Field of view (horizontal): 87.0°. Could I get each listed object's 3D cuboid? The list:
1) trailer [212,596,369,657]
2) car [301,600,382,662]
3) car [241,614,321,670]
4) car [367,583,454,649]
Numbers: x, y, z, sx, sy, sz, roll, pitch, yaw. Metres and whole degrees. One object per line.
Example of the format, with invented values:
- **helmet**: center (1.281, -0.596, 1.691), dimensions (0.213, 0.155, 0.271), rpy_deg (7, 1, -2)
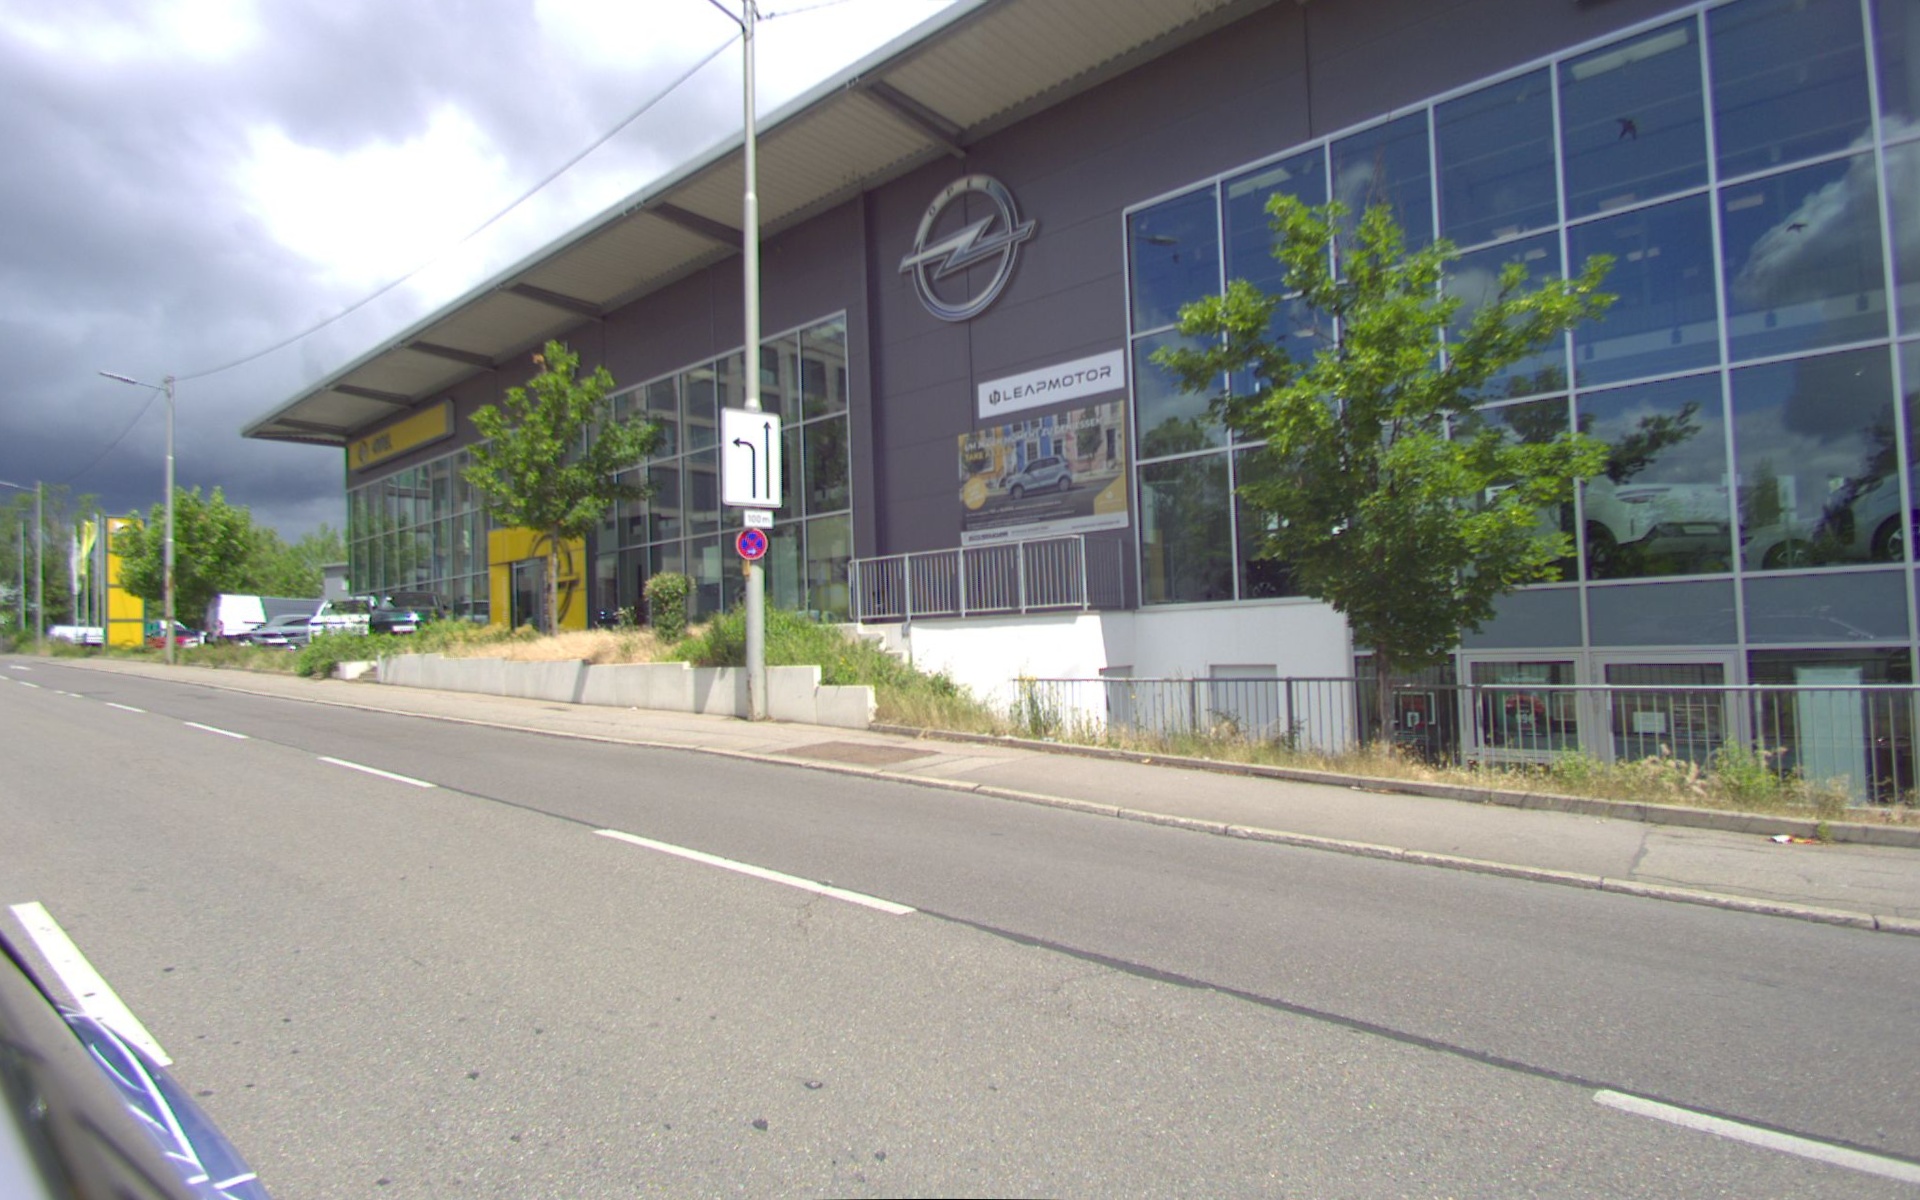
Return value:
- **trailer**: center (-27.428, 1.082, 41.599), dimensions (1.998, 2.367, 5.011), rpy_deg (-1, -2, 39)
- **car**: center (-19.216, 0.944, 31.585), dimensions (1.966, 1.807, 4.012), rpy_deg (1, -2, -29)
- **car**: center (-23.481, 1.404, 35.147), dimensions (1.966, 1.807, 4.012), rpy_deg (1, -1, -29)
- **car**: center (-15.689, 0.469, 28.797), dimensions (1.966, 1.741, 4.011), rpy_deg (1, -2, -31)
